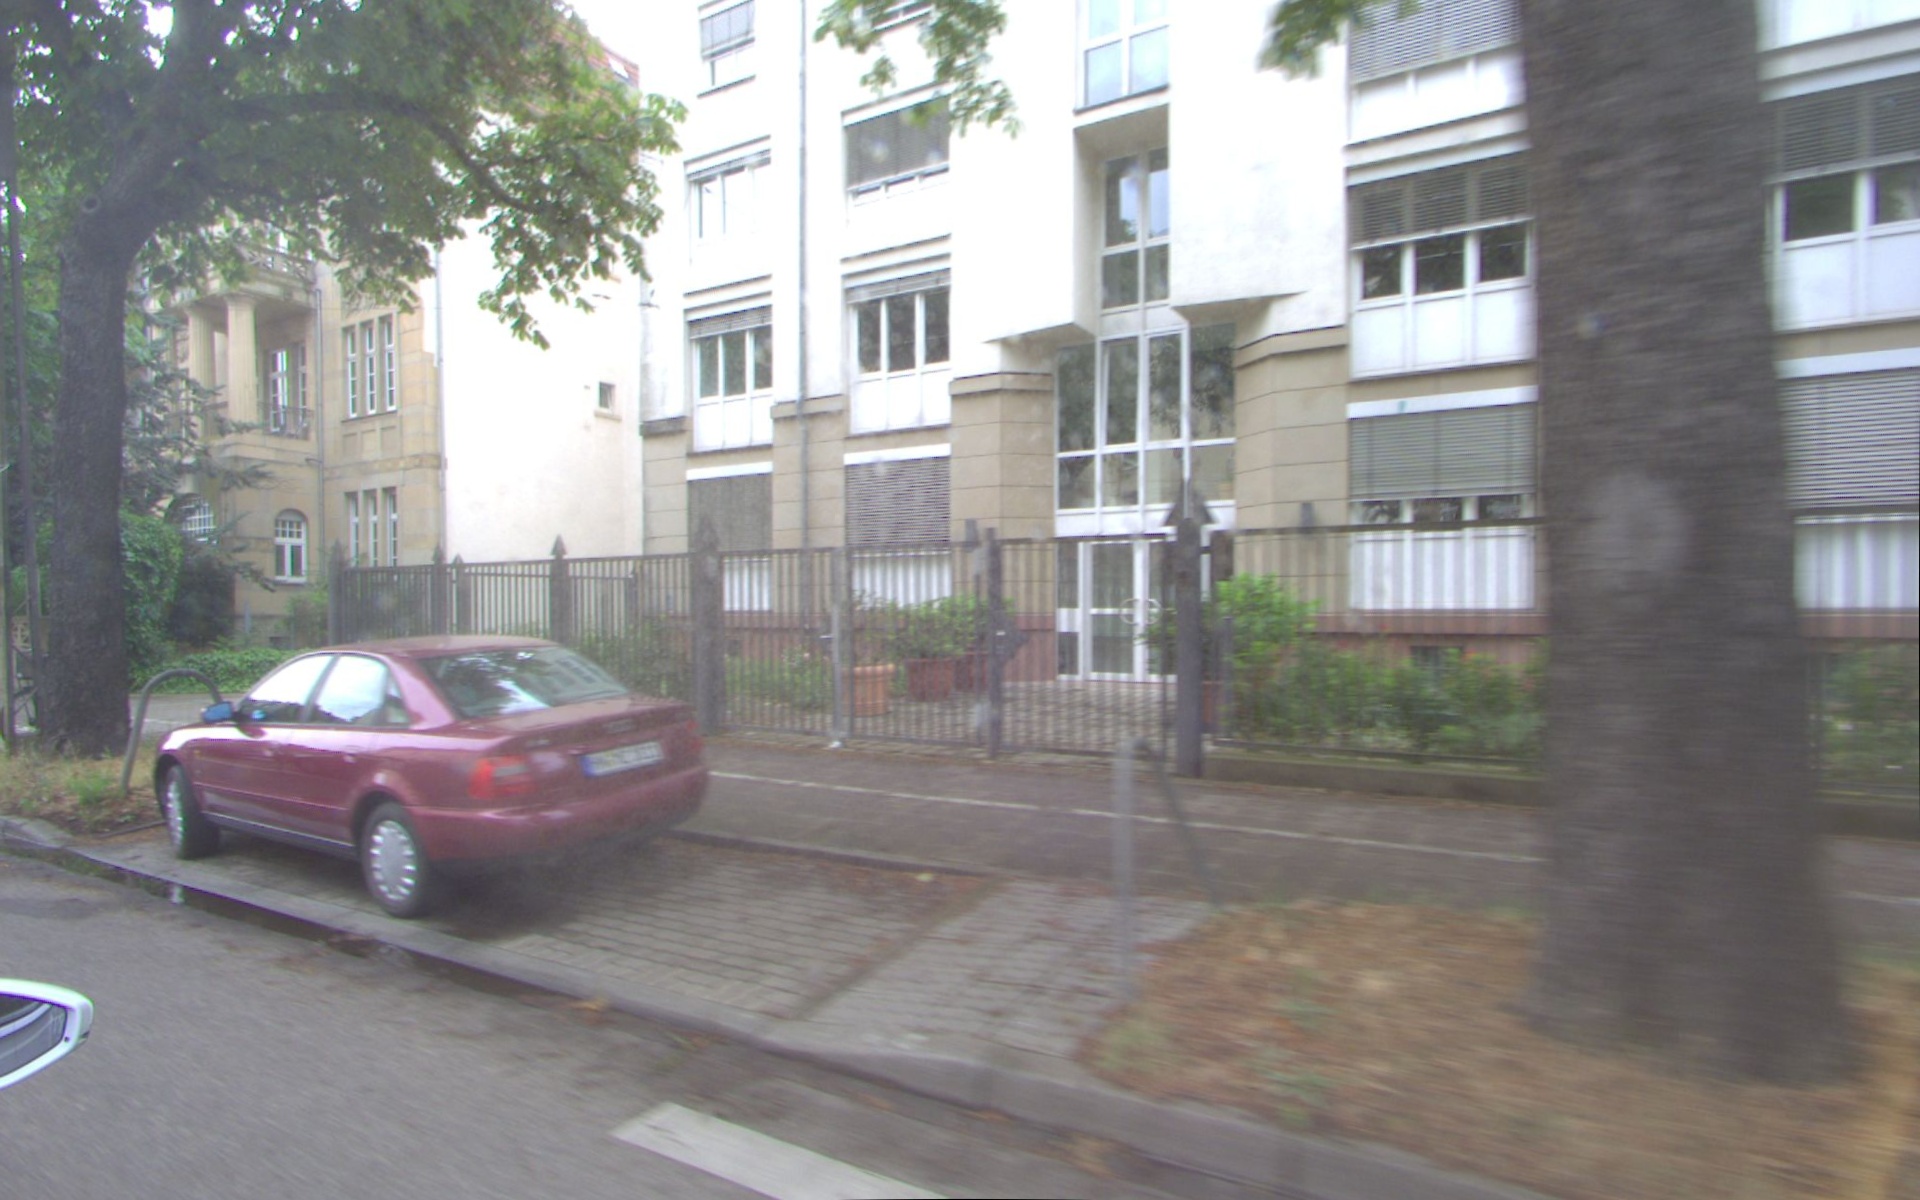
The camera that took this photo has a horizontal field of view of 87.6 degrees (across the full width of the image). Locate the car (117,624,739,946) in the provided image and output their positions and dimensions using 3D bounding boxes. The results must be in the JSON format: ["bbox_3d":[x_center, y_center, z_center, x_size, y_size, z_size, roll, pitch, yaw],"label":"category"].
[{"bbox_3d":[-3.543,0.912,6.458,4.165,1.418,1.599,0,2,31],"label":"car"}]

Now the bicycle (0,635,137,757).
[{"bbox_3d":[-9.756,0.989,10.920,0.425,1.213,1.902,0,-2,-14],"label":"bicycle"}]
